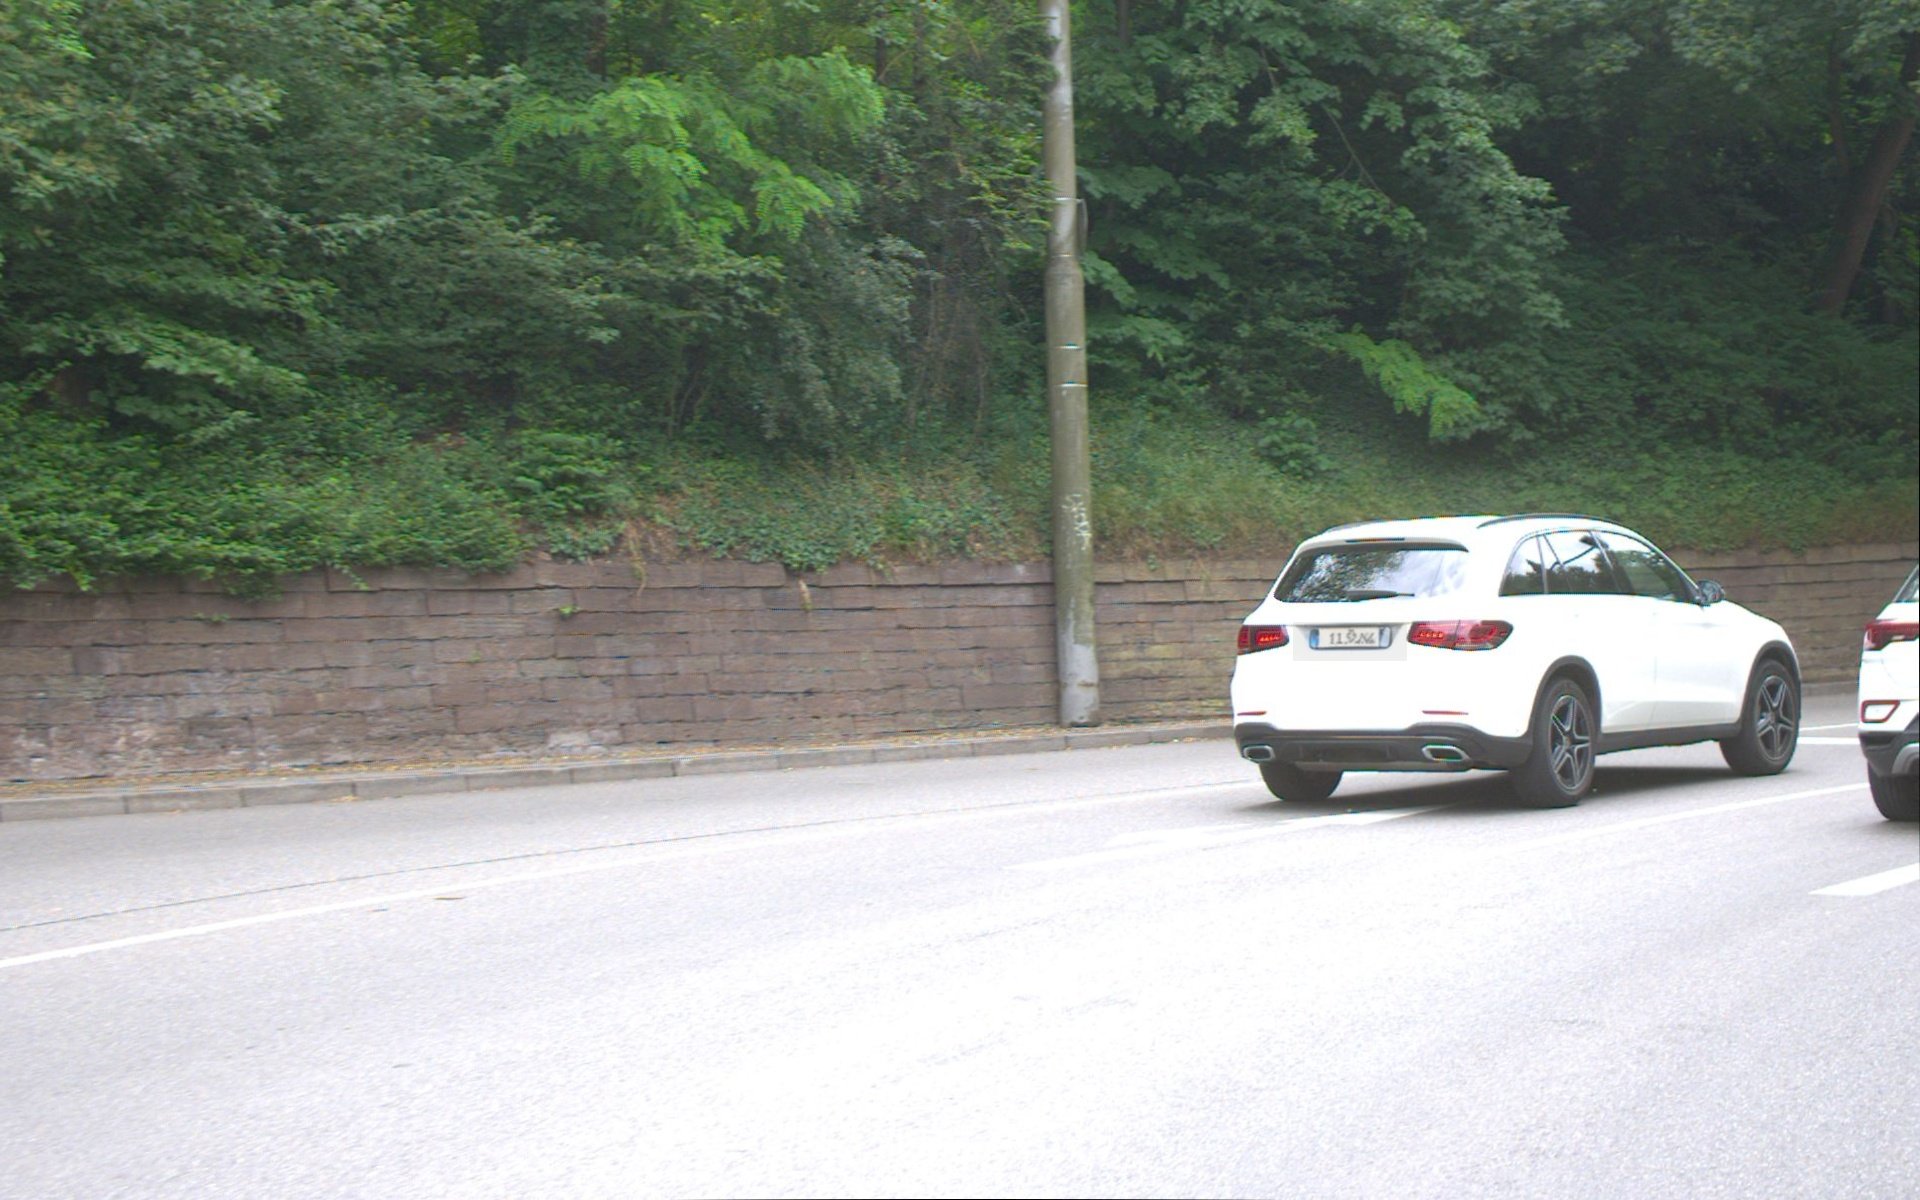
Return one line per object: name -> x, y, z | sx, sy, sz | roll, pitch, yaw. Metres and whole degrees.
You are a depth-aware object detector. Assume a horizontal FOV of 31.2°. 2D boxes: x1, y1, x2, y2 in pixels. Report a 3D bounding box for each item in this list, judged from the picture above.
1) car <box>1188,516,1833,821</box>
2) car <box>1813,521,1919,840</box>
car -> 3.417, 0.326, 20.550 | 1.862, 1.600, 4.661 | -1, 1, 36
car -> 6.227, 0.324, 18.179 | 1.758, 1.547, 4.328 | -1, 1, 37
